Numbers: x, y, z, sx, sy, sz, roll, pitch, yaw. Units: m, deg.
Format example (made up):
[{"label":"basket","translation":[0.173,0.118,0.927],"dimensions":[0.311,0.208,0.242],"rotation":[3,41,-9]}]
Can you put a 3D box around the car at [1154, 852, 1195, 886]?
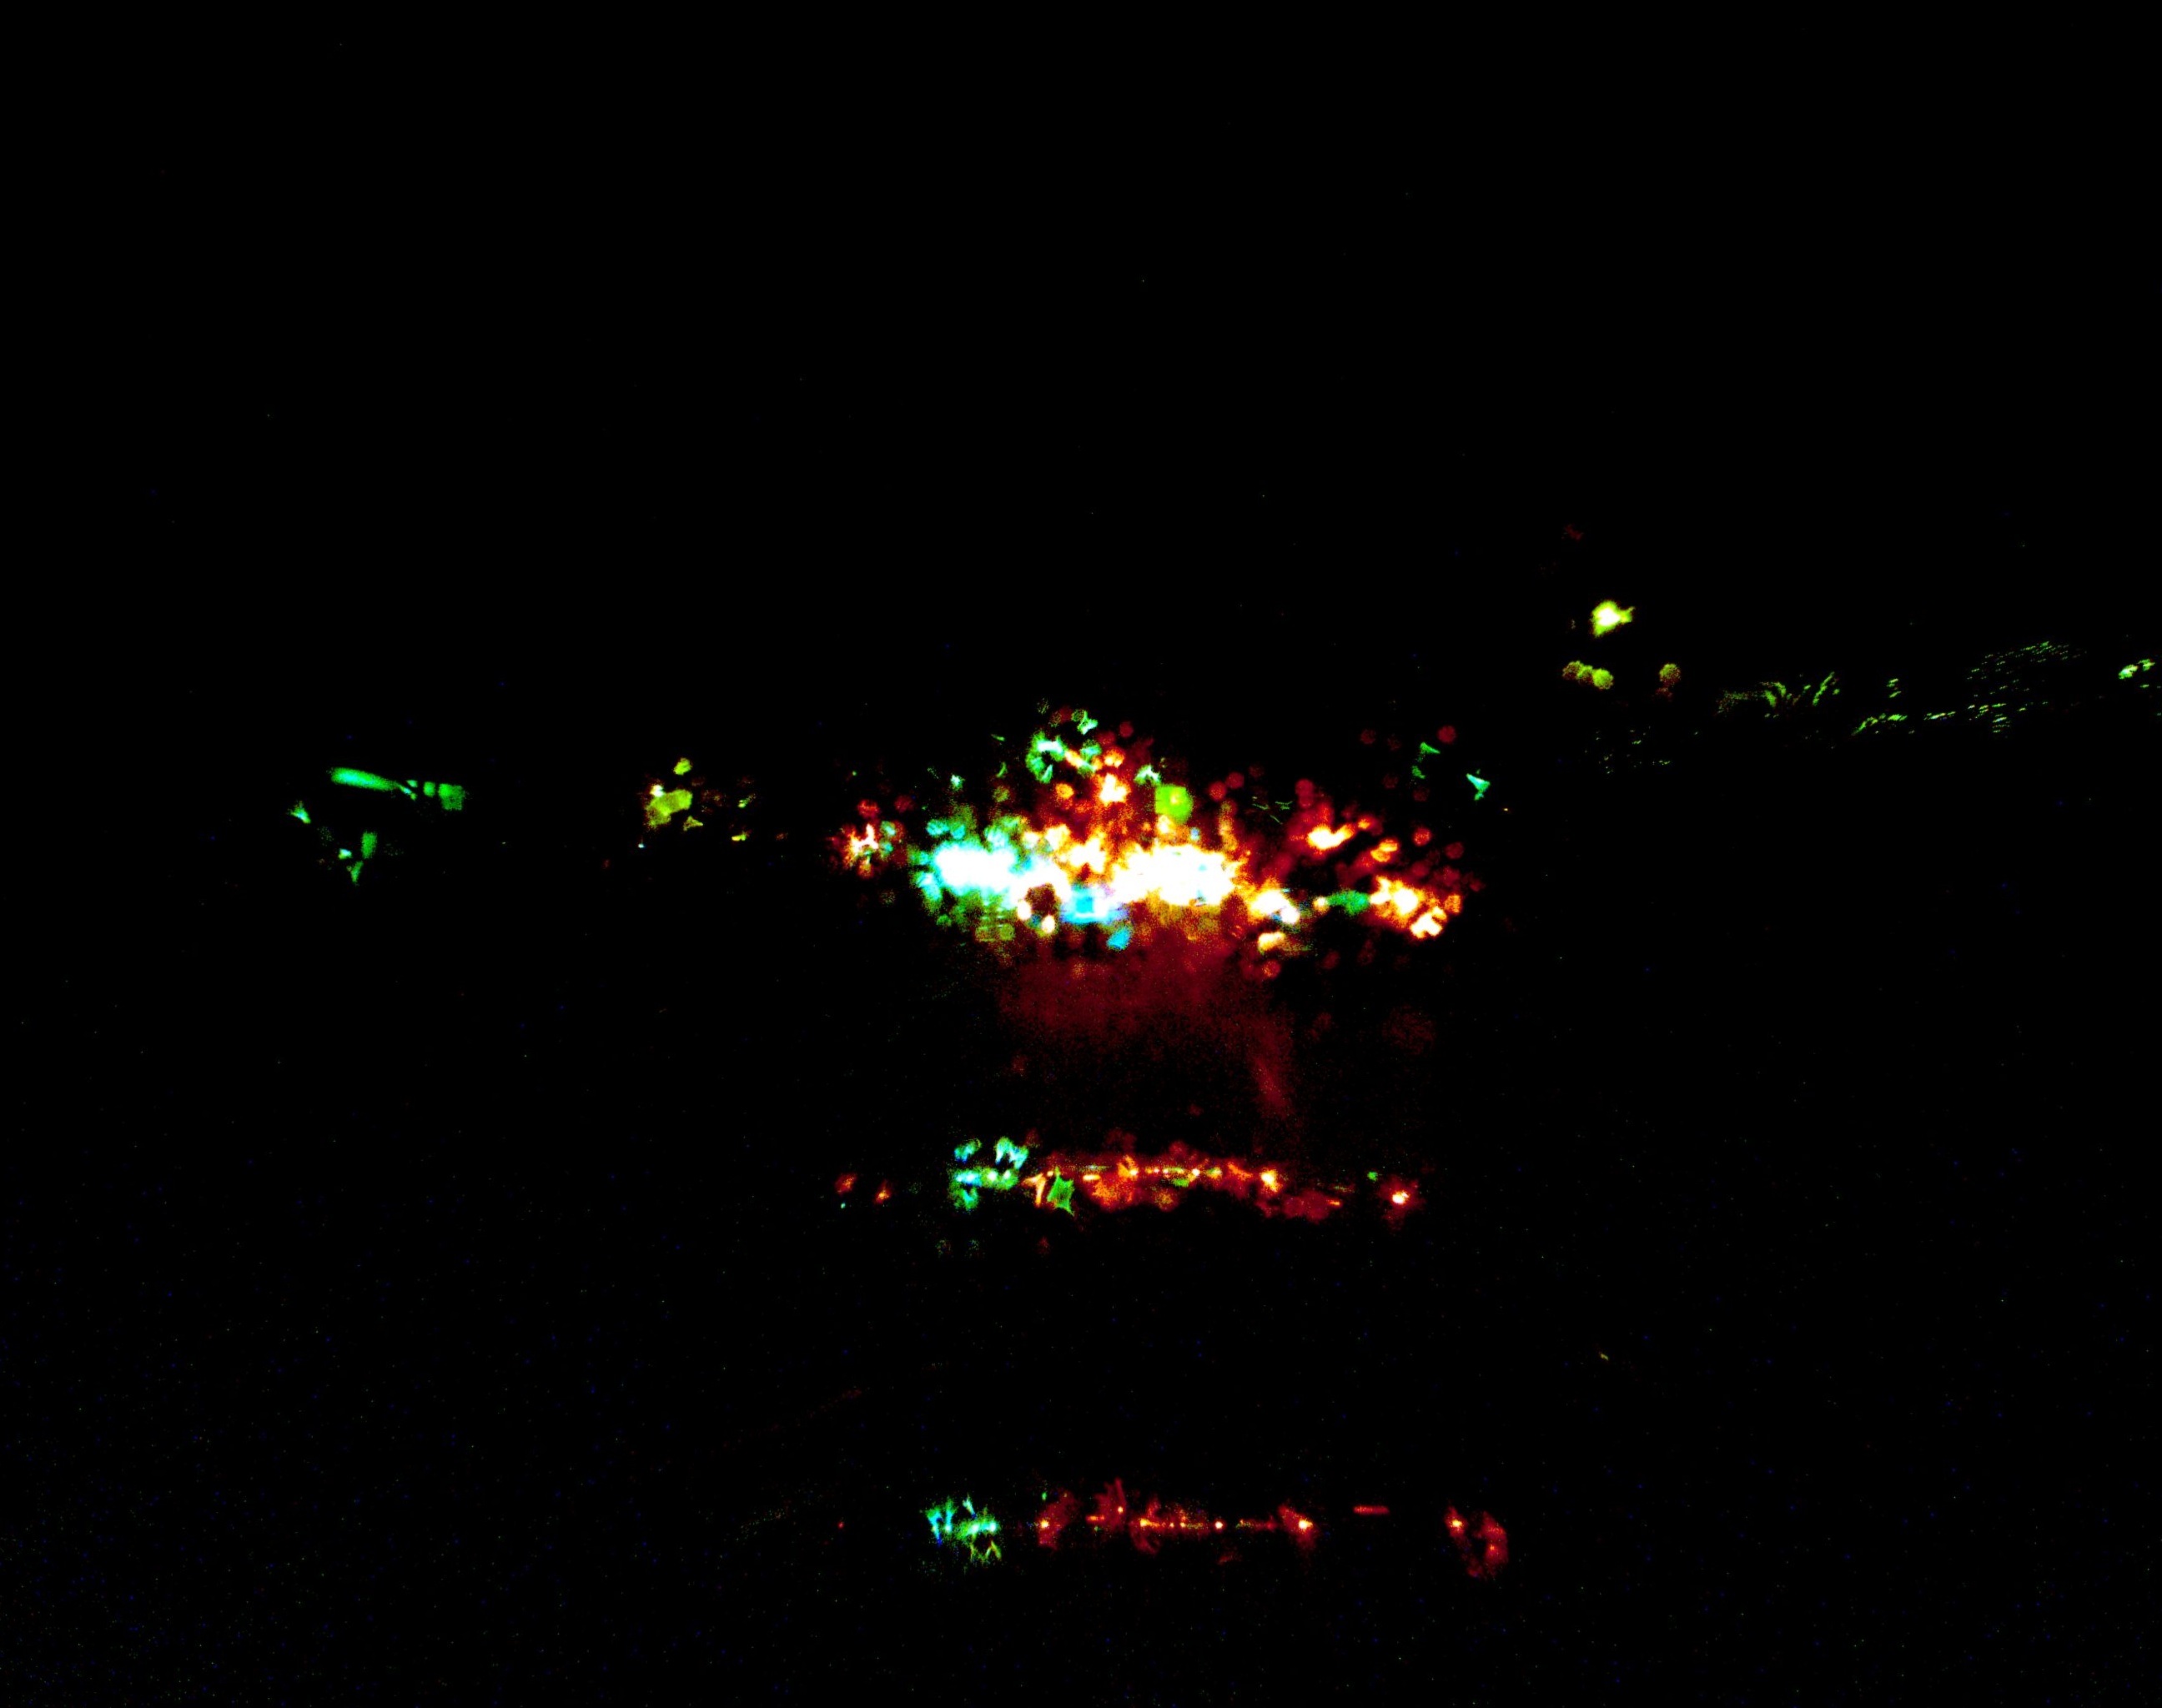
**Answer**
[{"label":"car","translation":[4.195,0.653,37.032],"dimensions":[1.656,1.450,4.054],"rotation":[-1,-1,4]}]

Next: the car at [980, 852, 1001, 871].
[{"label":"car","translation":[-9.176,0.734,82.554],"dimensions":[1.992,1.912,4.731],"rotation":[-1,0,-7]}]

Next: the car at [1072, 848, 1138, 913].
[{"label":"car","translation":[0.729,0.687,23.430],"dimensions":[1.702,1.638,3.733],"rotation":[-2,0,3]}]

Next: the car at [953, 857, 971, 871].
[{"label":"car","translation":[-16.499,1.370,112.735],"dimensions":[1.995,1.892,4.722],"rotation":[-1,0,-12]}]

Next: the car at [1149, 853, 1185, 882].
[{"label":"car","translation":[4.547,0.689,43.470],"dimensions":[1.657,1.450,4.052],"rotation":[-1,0,2]}]

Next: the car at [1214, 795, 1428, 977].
[{"label":"car","translation":[2.961,0.339,10.996],"dimensions":[1.933,1.972,4.223],"rotation":[-1,0,4]}]

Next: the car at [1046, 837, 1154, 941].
[{"label":"car","translation":[0.374,0.562,14.681],"dimensions":[1.688,1.630,3.855],"rotation":[0,0,2]}]

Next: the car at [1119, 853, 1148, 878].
[{"label":"car","translation":[3.237,0.691,50.641],"dimensions":[1.657,1.450,4.051],"rotation":[-1,-1,2]}]

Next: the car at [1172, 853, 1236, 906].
[{"label":"car","translation":[3.770,0.735,25.561],"dimensions":[1.759,1.450,4.225],"rotation":[-1,0,6]}]
